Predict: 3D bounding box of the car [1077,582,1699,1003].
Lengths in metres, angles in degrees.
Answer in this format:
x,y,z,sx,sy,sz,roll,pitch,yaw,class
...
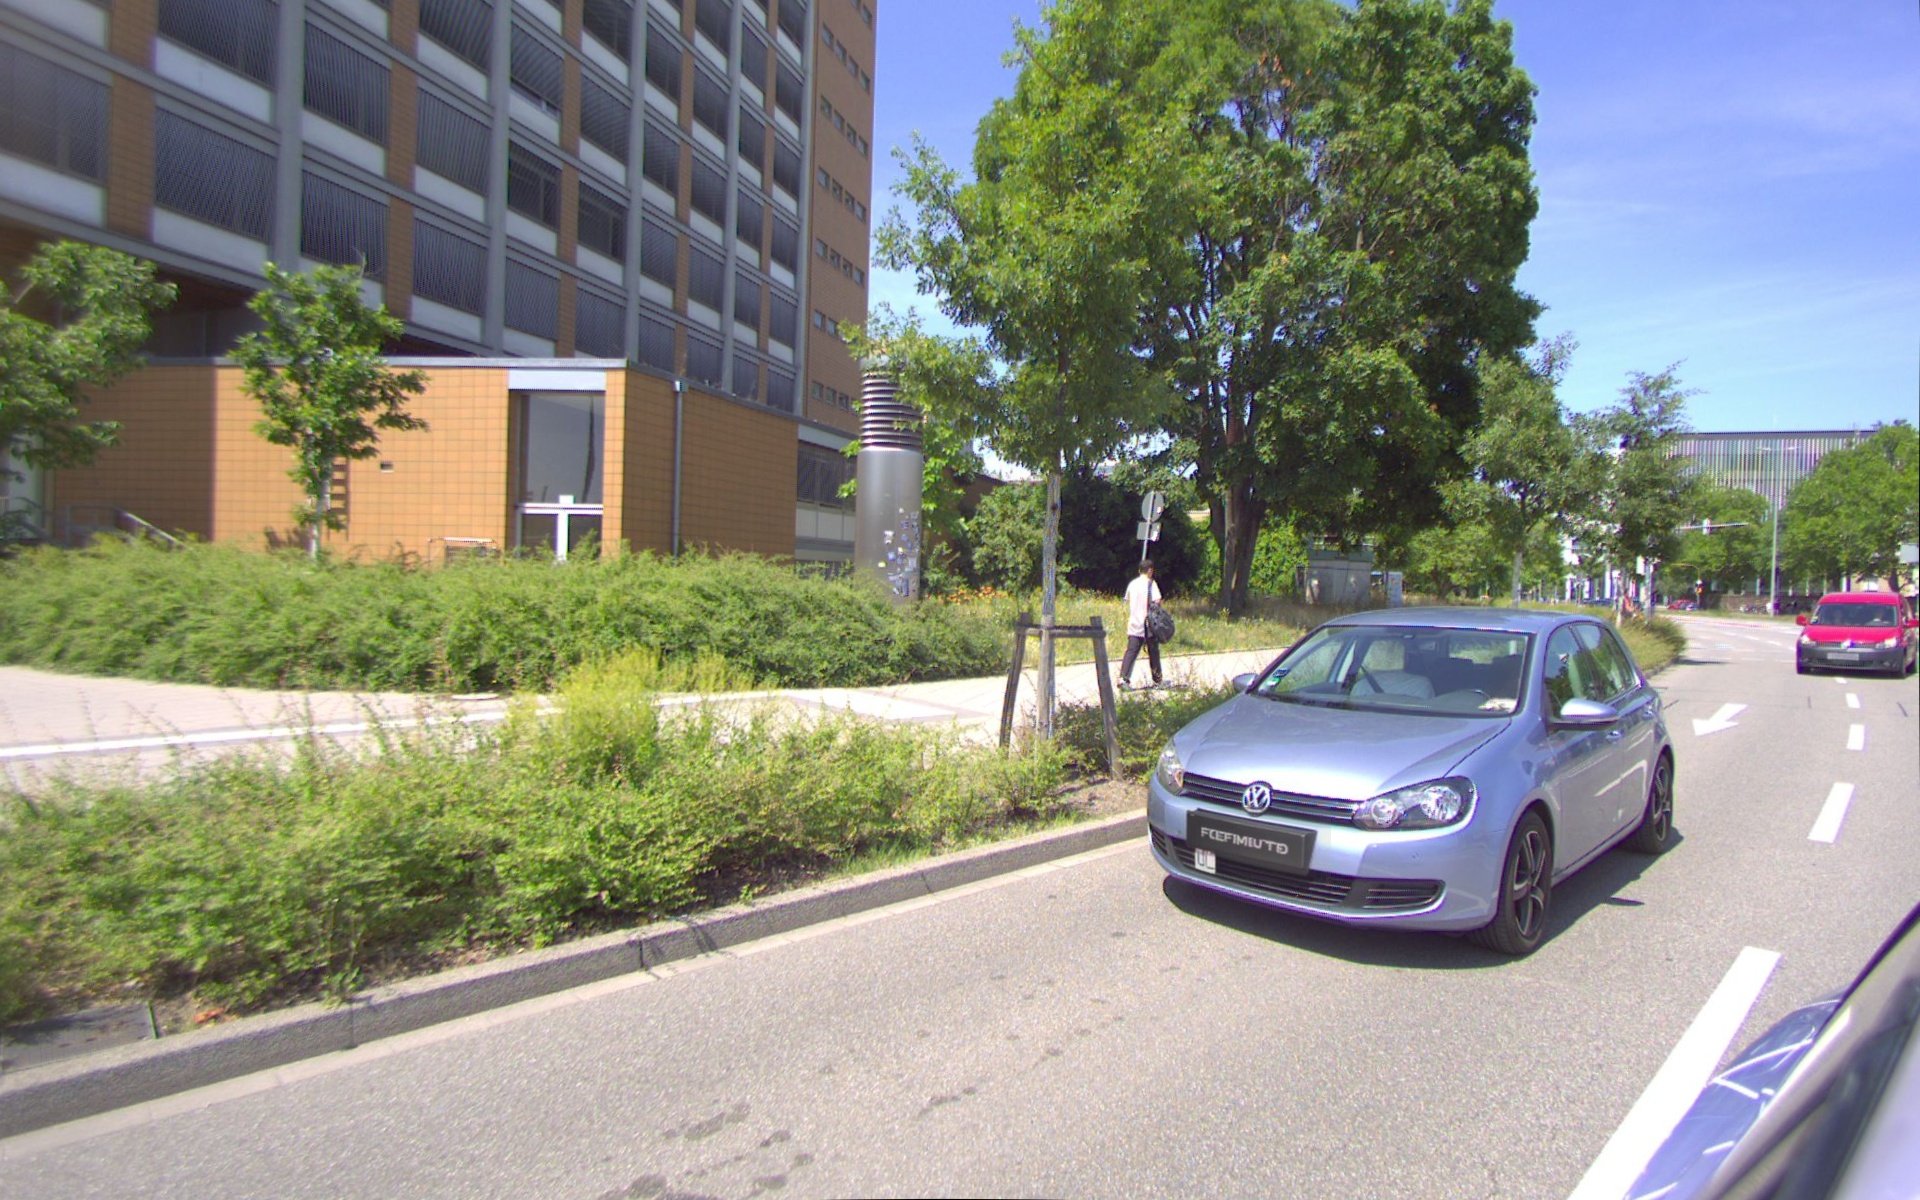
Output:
x,y,z,sx,sy,sz,roll,pitch,yaw,class
2.591,0.664,5.587,1.829,1.432,3.930,2,2,45,car

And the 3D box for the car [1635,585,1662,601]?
x,y,z,sx,sy,sz,roll,pitch,yaw,class
81.248,-0.802,119.474,1.762,1.705,3.968,2,-1,23,car

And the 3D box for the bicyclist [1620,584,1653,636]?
x,y,z,sx,sy,sz,roll,pitch,yaw,class
23.512,0.344,35.176,0.540,1.737,0.705,3,0,-18,bicyclist

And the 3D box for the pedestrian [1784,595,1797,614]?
x,y,z,sx,sy,sz,roll,pitch,yaw,class
87.200,0.478,106.275,0.779,2.039,0.957,2,-1,21,pedestrian

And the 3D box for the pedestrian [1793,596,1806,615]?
x,y,z,sx,sy,sz,roll,pitch,yaw,class
87.896,0.575,105.903,0.779,2.039,0.834,2,-1,21,pedestrian

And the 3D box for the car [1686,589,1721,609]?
x,y,z,sx,sy,sz,roll,pitch,yaw,class
81.147,-0.072,110.558,1.976,2.039,4.183,2,-1,21,car

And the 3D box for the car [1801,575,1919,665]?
x,y,z,sx,sy,sz,roll,pitch,yaw,class
19.942,0.460,22.244,4.208,1.789,1.829,3,-1,-45,car

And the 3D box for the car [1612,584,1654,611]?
x,y,z,sx,sy,sz,roll,pitch,yaw,class
44.746,-0.142,67.386,1.692,1.606,4.514,2,-1,26,car

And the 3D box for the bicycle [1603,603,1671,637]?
x,y,z,sx,sy,sz,roll,pitch,yaw,class
23.498,0.688,35.188,0.547,1.058,2.002,3,1,-18,bicycle

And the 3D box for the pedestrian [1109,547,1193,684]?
x,y,z,sx,sy,sz,roll,pitch,yaw,class
2.506,0.196,13.287,0.796,1.727,0.733,1,0,-40,pedestrian
